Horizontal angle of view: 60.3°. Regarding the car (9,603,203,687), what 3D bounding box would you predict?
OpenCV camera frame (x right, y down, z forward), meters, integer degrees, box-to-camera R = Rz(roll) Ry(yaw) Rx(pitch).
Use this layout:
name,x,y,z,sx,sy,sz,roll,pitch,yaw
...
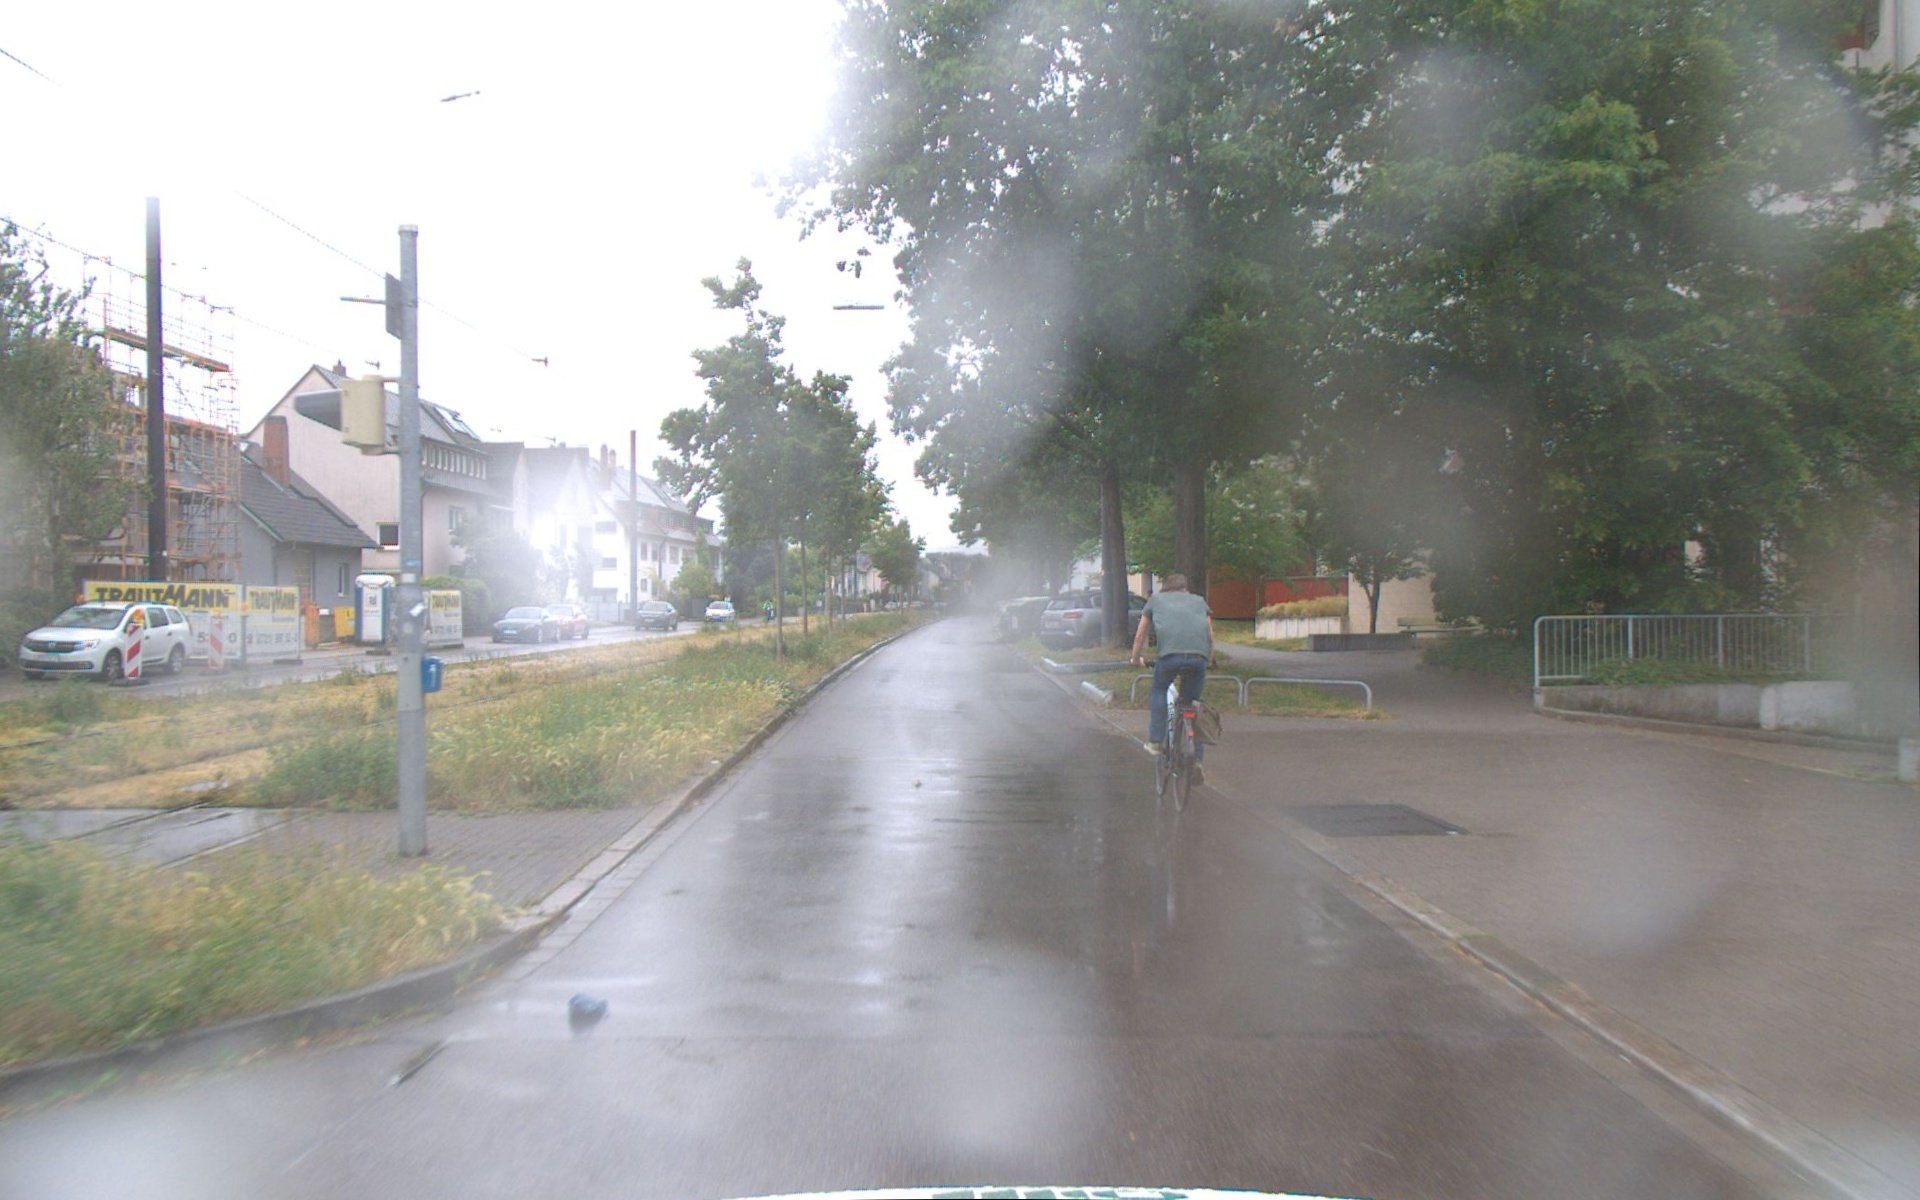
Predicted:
name,x,y,z,sx,sy,sz,roll,pitch,yaw
car,-17.691,0.892,34.529,1.675,1.569,4.422,2,0,1

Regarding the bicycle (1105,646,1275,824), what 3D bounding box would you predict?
name,x,y,z,sx,sy,sz,roll,pitch,yaw
bicycle,1.668,0.950,12.450,0.793,1.116,2.516,-1,0,-3

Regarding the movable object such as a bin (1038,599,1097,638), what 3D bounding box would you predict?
name,x,y,z,sx,sy,sz,roll,pitch,yaw
movable object such as a bin,3.780,0.632,58.250,1.657,1.349,1.392,0,0,-21

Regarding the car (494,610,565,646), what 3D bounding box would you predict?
name,x,y,z,sx,sy,sz,roll,pitch,yaw
car,-16.584,1.047,63.849,1.629,1.266,4.071,2,0,0

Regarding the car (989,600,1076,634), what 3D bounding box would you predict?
name,x,y,z,sx,sy,sz,roll,pitch,yaw
car,3.265,0.744,73.739,4.010,1.468,1.559,-1,0,-44

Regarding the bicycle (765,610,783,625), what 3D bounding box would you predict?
name,x,y,z,sx,sy,sz,roll,pitch,yaw
bicycle,-14.022,1.328,124.577,0.997,1.046,3.196,-1,0,0

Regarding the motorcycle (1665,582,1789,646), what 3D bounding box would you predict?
name,x,y,z,sx,sy,sz,roll,pitch,yaw
motorcycle,16.439,0.298,35.501,0.876,1.311,2.272,-1,0,-38

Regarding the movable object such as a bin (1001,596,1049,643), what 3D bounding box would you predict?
name,x,y,z,sx,sy,sz,roll,pitch,yaw
movable object such as a bin,2.274,0.679,57.831,1.110,1.482,1.392,-6,2,-21

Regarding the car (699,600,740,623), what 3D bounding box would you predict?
name,x,y,z,sx,sy,sz,roll,pitch,yaw
car,-16.248,0.781,112.035,1.857,1.495,4.689,2,0,3

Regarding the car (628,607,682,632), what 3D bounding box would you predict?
name,x,y,z,sx,sy,sz,roll,pitch,yaw
car,-16.516,1.021,89.759,1.857,1.266,4.689,2,0,3

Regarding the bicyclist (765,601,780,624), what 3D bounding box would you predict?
name,x,y,z,sx,sy,sz,roll,pitch,yaw
bicyclist,-14.031,0.917,123.911,0.997,1.715,1.091,-1,0,0

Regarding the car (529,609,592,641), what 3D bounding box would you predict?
name,x,y,z,sx,sy,sz,roll,pitch,yaw
car,-16.647,1.025,69.035,1.640,1.266,3.855,2,0,0

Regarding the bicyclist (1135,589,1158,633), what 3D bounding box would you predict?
name,x,y,z,sx,sy,sz,roll,pitch,yaw
bicyclist,7.043,0.422,62.566,0.720,1.622,0.944,-1,0,-1

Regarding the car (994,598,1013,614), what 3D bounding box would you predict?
name,x,y,z,sx,sy,sz,roll,pitch,yaw
car,4.300,0.605,165.243,1.795,1.614,4.000,-1,0,0

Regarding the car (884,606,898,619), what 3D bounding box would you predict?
name,x,y,z,sx,sy,sz,roll,pitch,yaw
car,-9.585,1.720,231.033,1.805,1.701,4.000,-1,0,0

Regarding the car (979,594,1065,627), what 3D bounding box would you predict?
name,x,y,z,sx,sy,sz,roll,pitch,yaw
car,2.938,0.491,78.256,3.998,1.468,1.564,-1,0,-37

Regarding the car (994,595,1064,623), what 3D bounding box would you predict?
name,x,y,z,sx,sy,sz,roll,pitch,yaw
car,3.974,0.511,95.096,3.998,1.539,1.564,-1,0,-37

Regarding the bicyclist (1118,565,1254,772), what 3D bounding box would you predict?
name,x,y,z,sx,sy,sz,roll,pitch,yaw
bicyclist,1.662,0.489,12.314,0.793,1.458,1.059,-1,0,-3

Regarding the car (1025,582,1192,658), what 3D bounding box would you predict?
name,x,y,z,sx,sy,sz,roll,pitch,yaw
car,3.993,0.506,44.345,4.097,1.749,1.978,-4,1,-33
